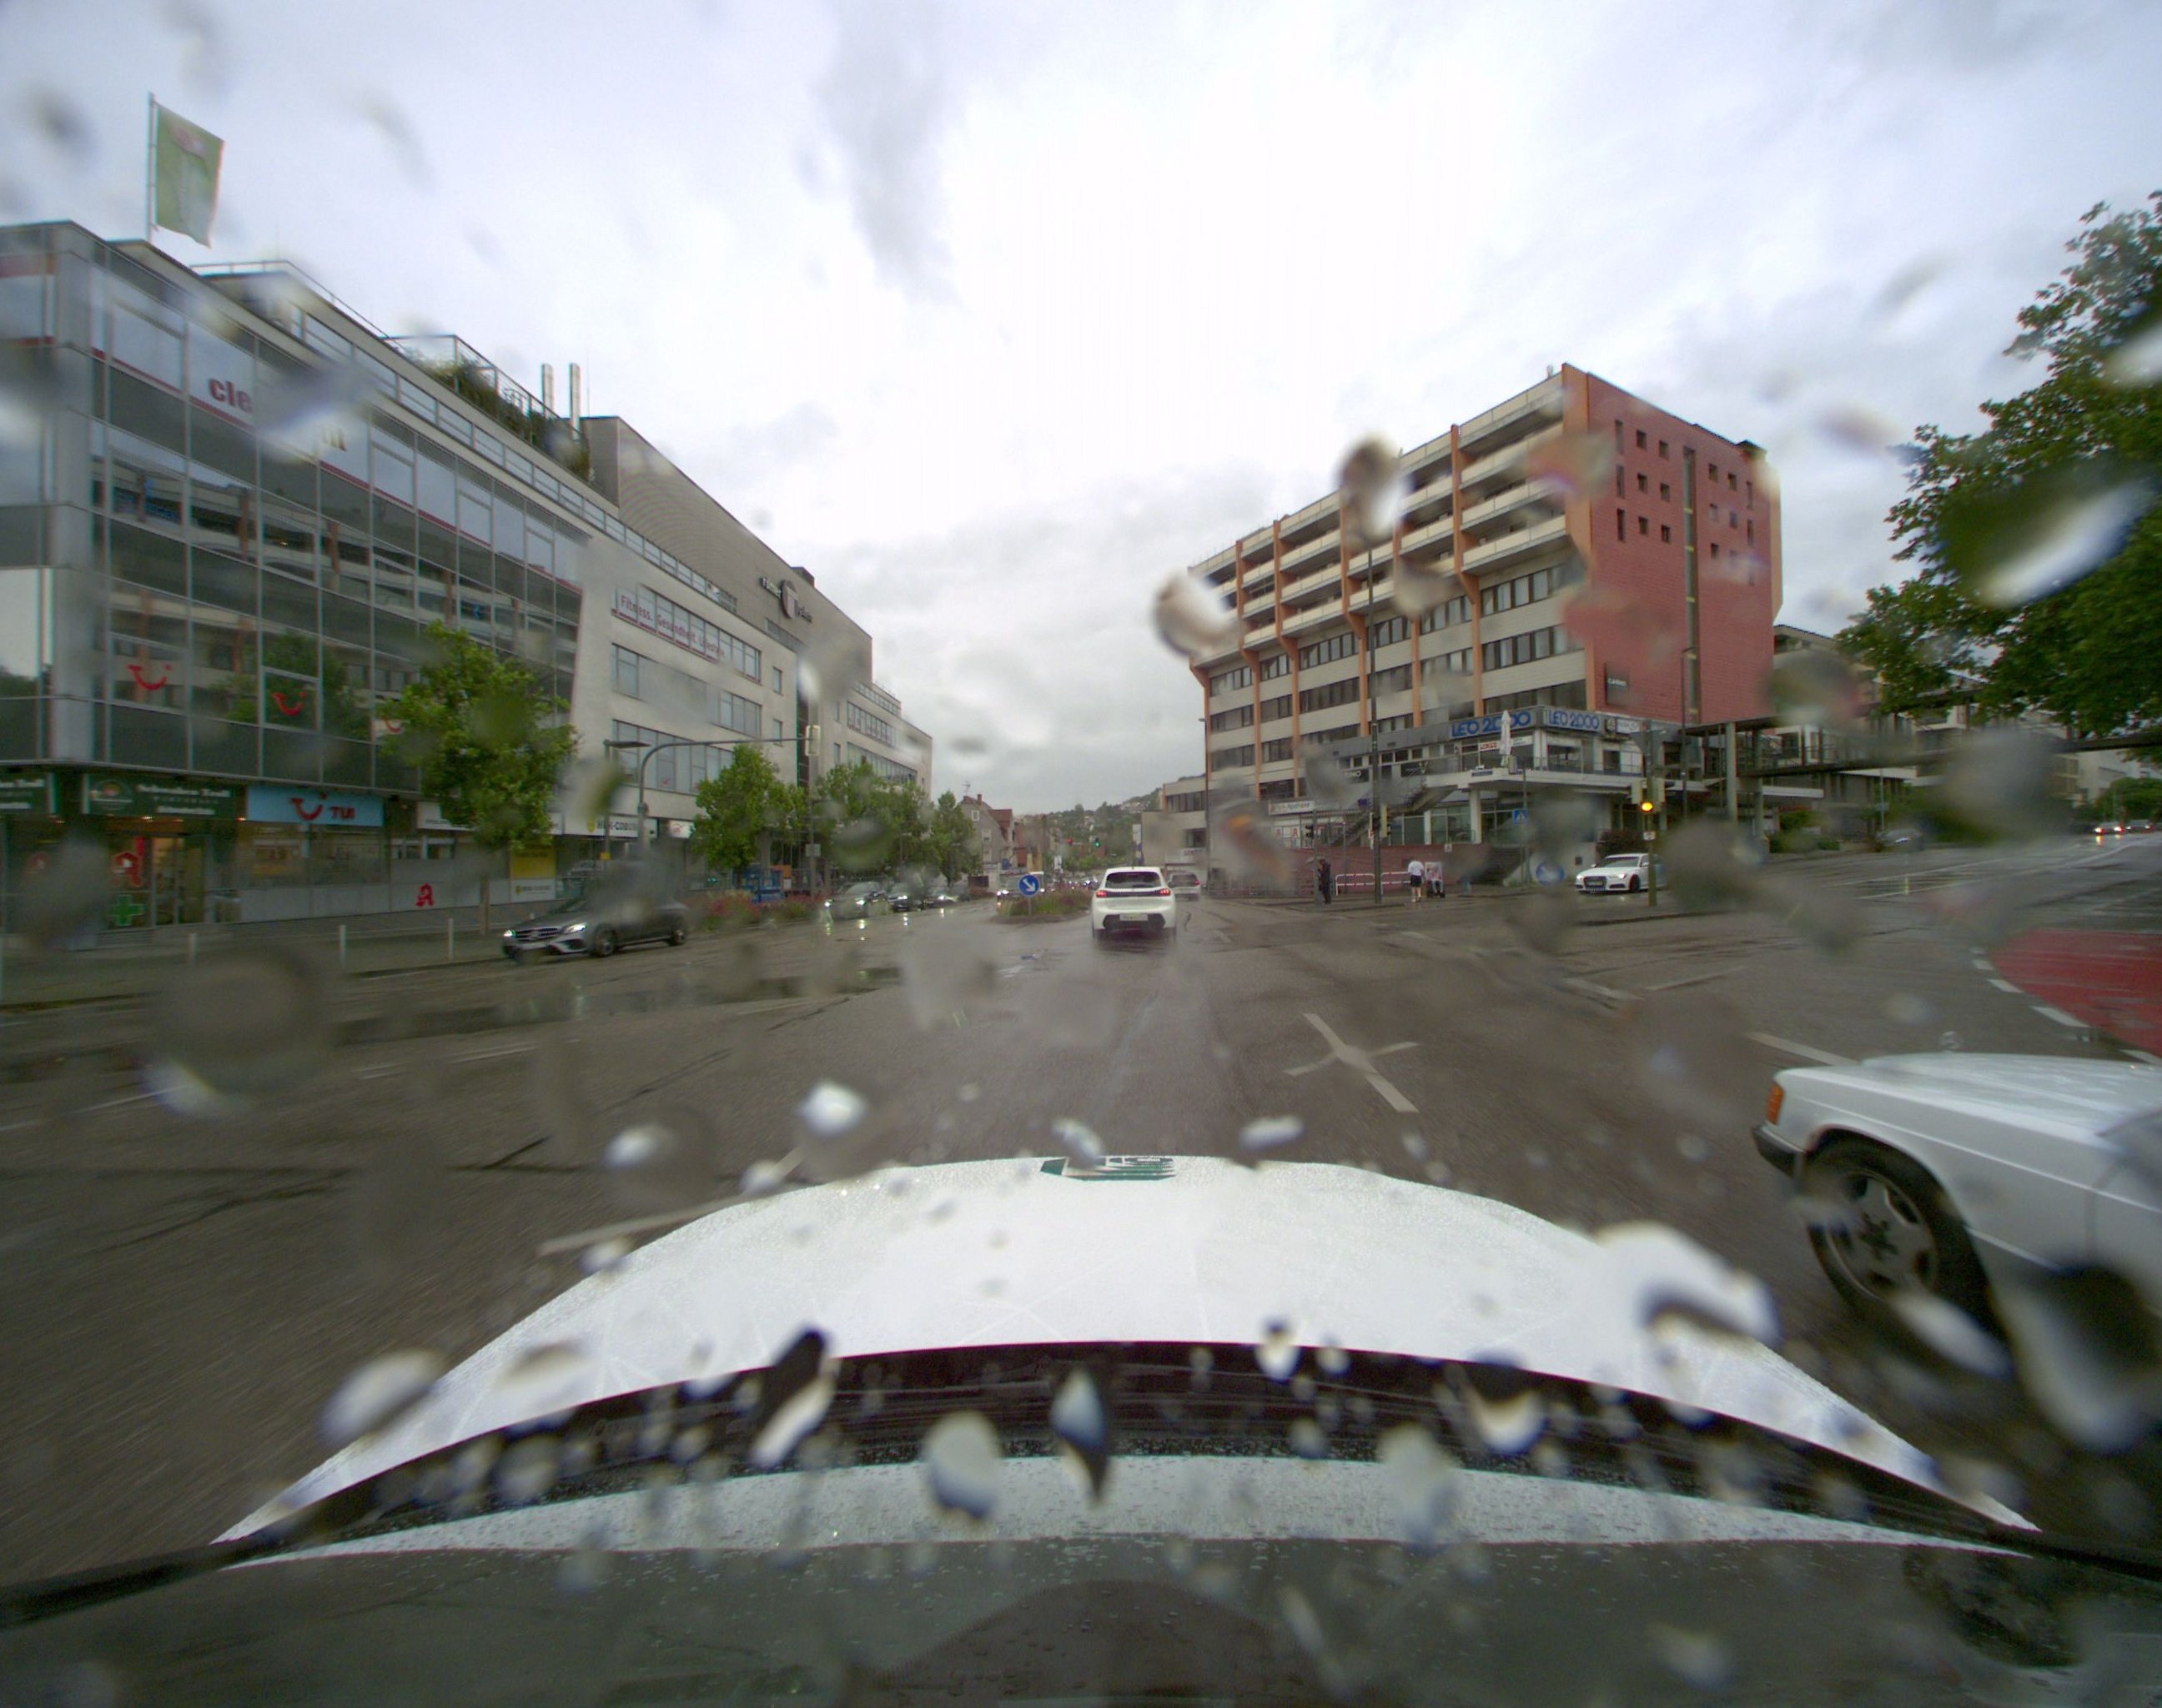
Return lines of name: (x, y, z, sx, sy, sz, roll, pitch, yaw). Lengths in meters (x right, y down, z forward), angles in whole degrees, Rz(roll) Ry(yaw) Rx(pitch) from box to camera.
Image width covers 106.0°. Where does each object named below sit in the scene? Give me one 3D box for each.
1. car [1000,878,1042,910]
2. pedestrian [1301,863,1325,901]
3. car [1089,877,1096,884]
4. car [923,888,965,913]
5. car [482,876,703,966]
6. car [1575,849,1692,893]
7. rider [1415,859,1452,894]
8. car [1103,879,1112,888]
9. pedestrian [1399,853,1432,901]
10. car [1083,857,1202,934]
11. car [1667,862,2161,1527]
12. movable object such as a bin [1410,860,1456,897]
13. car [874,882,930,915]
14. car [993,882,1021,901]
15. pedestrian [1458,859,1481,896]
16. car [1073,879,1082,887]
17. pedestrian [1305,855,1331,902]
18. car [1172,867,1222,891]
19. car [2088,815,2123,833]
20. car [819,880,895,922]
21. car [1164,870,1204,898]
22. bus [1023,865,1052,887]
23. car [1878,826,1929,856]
car: (-3.763, 2.537, 51.729, 1.985, 1.824, 4.300, -4, -3, 3)
pedestrian: (8.495, 1.013, 29.796, 0.704, 1.346, 0.656, -2, -2, 6)
car: (2.798, 6.376, 199.167, 1.740, 1.555, 4.001, -2, -1, 1)
car: (-8.753, 2.935, 52.428, 1.719, 1.388, 4.601, -2, -2, 2)
car: (-10.758, 1.383, 18.474, 1.913, 1.632, 4.904, -1, -1, 2)
car: (20.451, 0.619, 30.081, 4.808, 1.406, 1.793, -1, -2, -33)
rider: (13.815, 0.857, 31.973, 0.919, 1.284, 1.091, -4, 0, 2)
car: (5.119, 5.725, 158.403, 1.740, 1.555, 4.001, -2, -1, 1)
pedestrian: (12.022, 0.816, 29.293, 0.823, 1.691, 1.132, -1, -1, 10)
car: (1.448, 0.809, 17.628, 1.858, 1.462, 3.889, 0, -1, 15)
car: (3.223, 0.805, 1.329, 1.627, 1.448, 4.272, 1, 1, 3)
movable object such as a bin: (13.830, 0.973, 32.028, 1.125, 1.332, 1.455, -4, -3, 2)
car: (-9.943, 2.450, 45.688, 1.766, 1.594, 4.591, -5, -1, 3)
car: (-6.099, 3.104, 67.763, 1.719, 1.388, 4.456, -2, -2, 2)
pedestrian: (17.655, 1.055, 37.045, 0.788, 1.669, 0.935, -1, -1, 17)
car: (-0.731, 6.014, 169.356, 1.740, 1.555, 4.001, -2, -1, 1)
pedestrian: (8.422, 0.868, 28.942, 0.704, 1.607, 0.657, -3, 1, 6)
car: (11.152, 2.414, 78.802, 2.008, 2.226, 4.923, -1, -1, -33)
car: (112.359, -3.284, 89.323, 4.011, 1.807, 1.700, -1, -2, -29)
car: (-10.156, 2.071, 37.237, 1.868, 1.594, 4.527, -5, -1, 3)
car: (5.537, 1.621, 44.221, 1.903, 1.400, 3.460, -1, -1, 3)
bus: (-6.111, 3.080, 115.257, 2.926, 2.783, 9.512, -2, -1, 3)
car: (58.544, -0.892, 57.948, 4.019, 2.014, 1.977, -1, -2, -38)
